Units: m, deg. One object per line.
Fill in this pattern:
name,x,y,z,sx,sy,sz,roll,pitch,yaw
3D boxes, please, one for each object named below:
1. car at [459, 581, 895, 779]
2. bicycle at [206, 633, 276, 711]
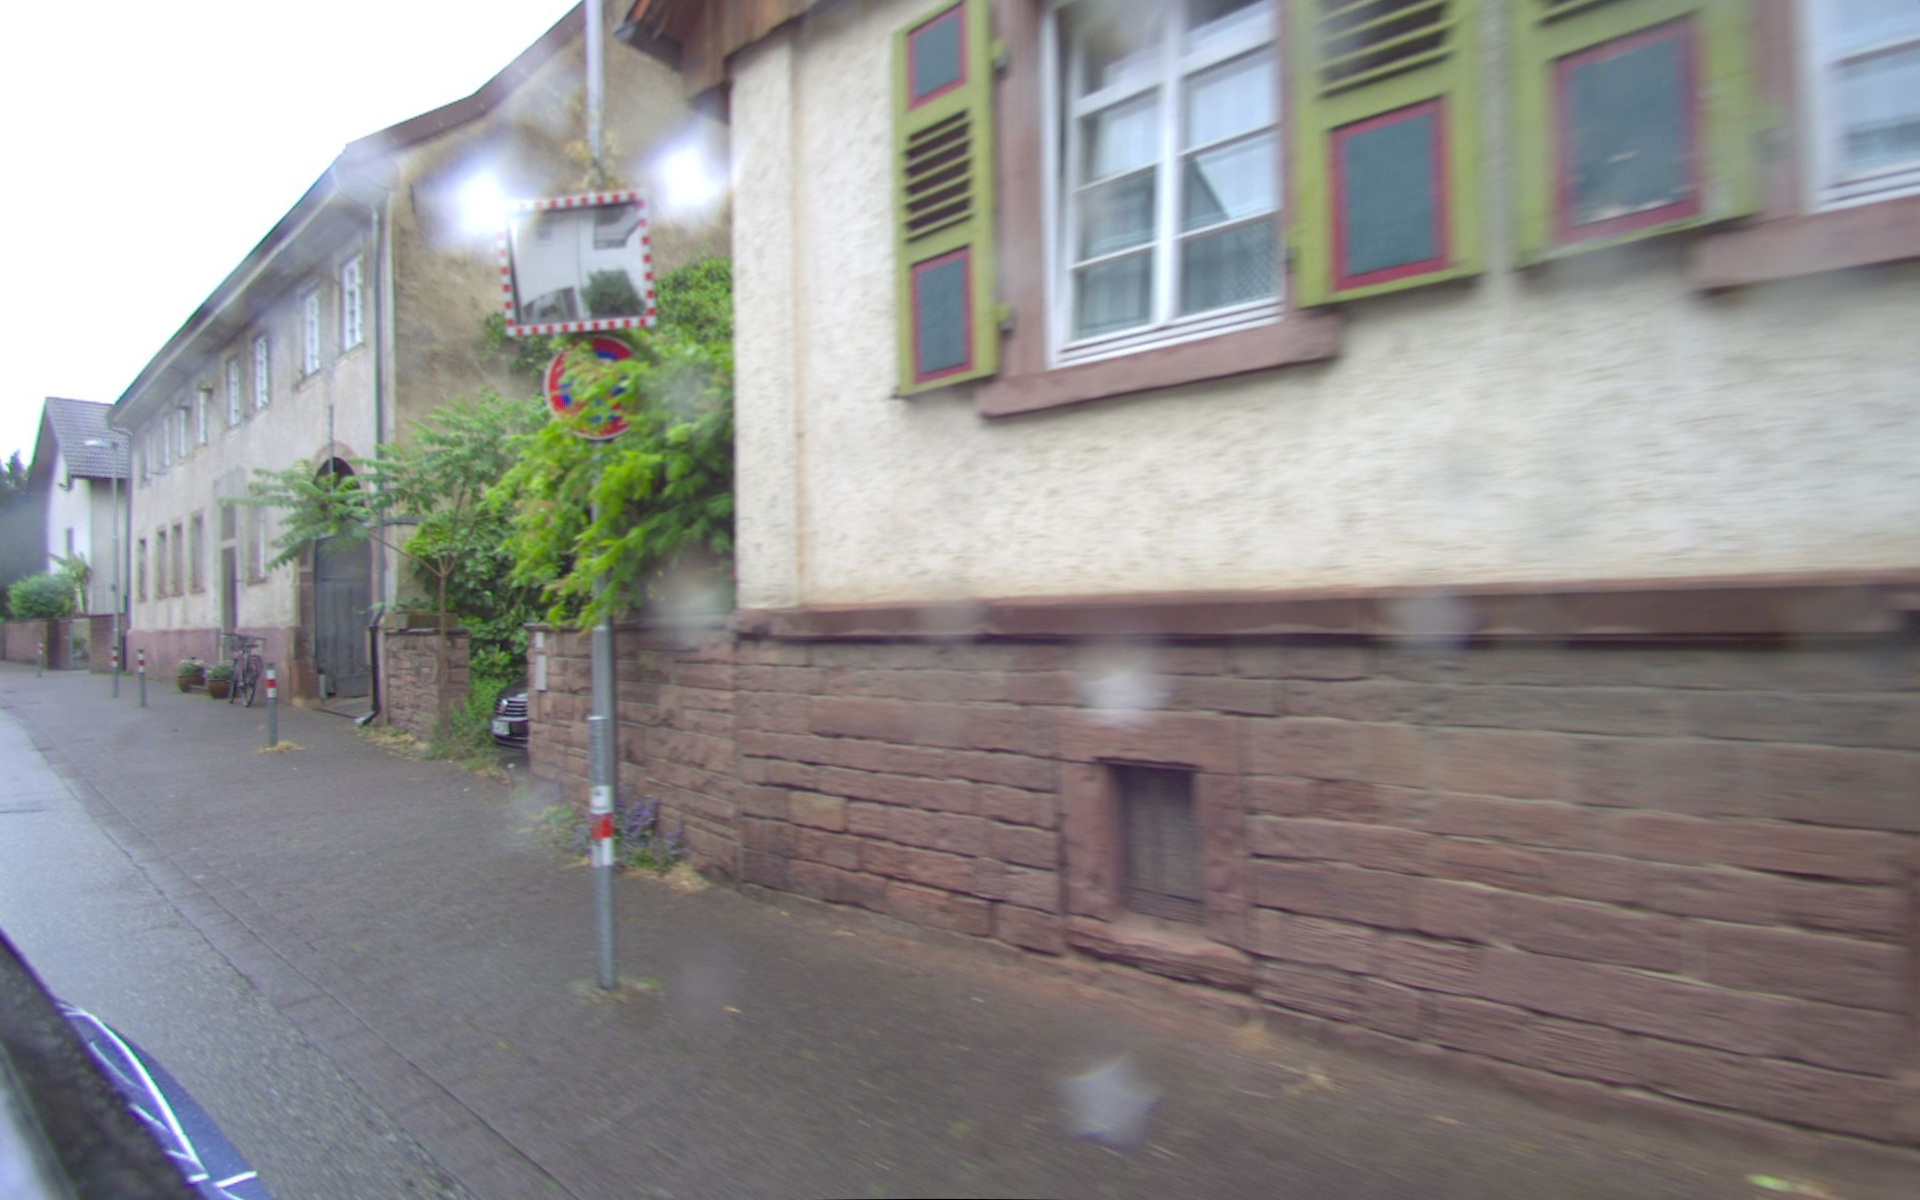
car,-2.811,0.669,10.544,3.939,1.436,1.738,-6,3,-40
bicycle,-11.821,1.165,16.620,1.873,1.187,0.477,-3,0,41
